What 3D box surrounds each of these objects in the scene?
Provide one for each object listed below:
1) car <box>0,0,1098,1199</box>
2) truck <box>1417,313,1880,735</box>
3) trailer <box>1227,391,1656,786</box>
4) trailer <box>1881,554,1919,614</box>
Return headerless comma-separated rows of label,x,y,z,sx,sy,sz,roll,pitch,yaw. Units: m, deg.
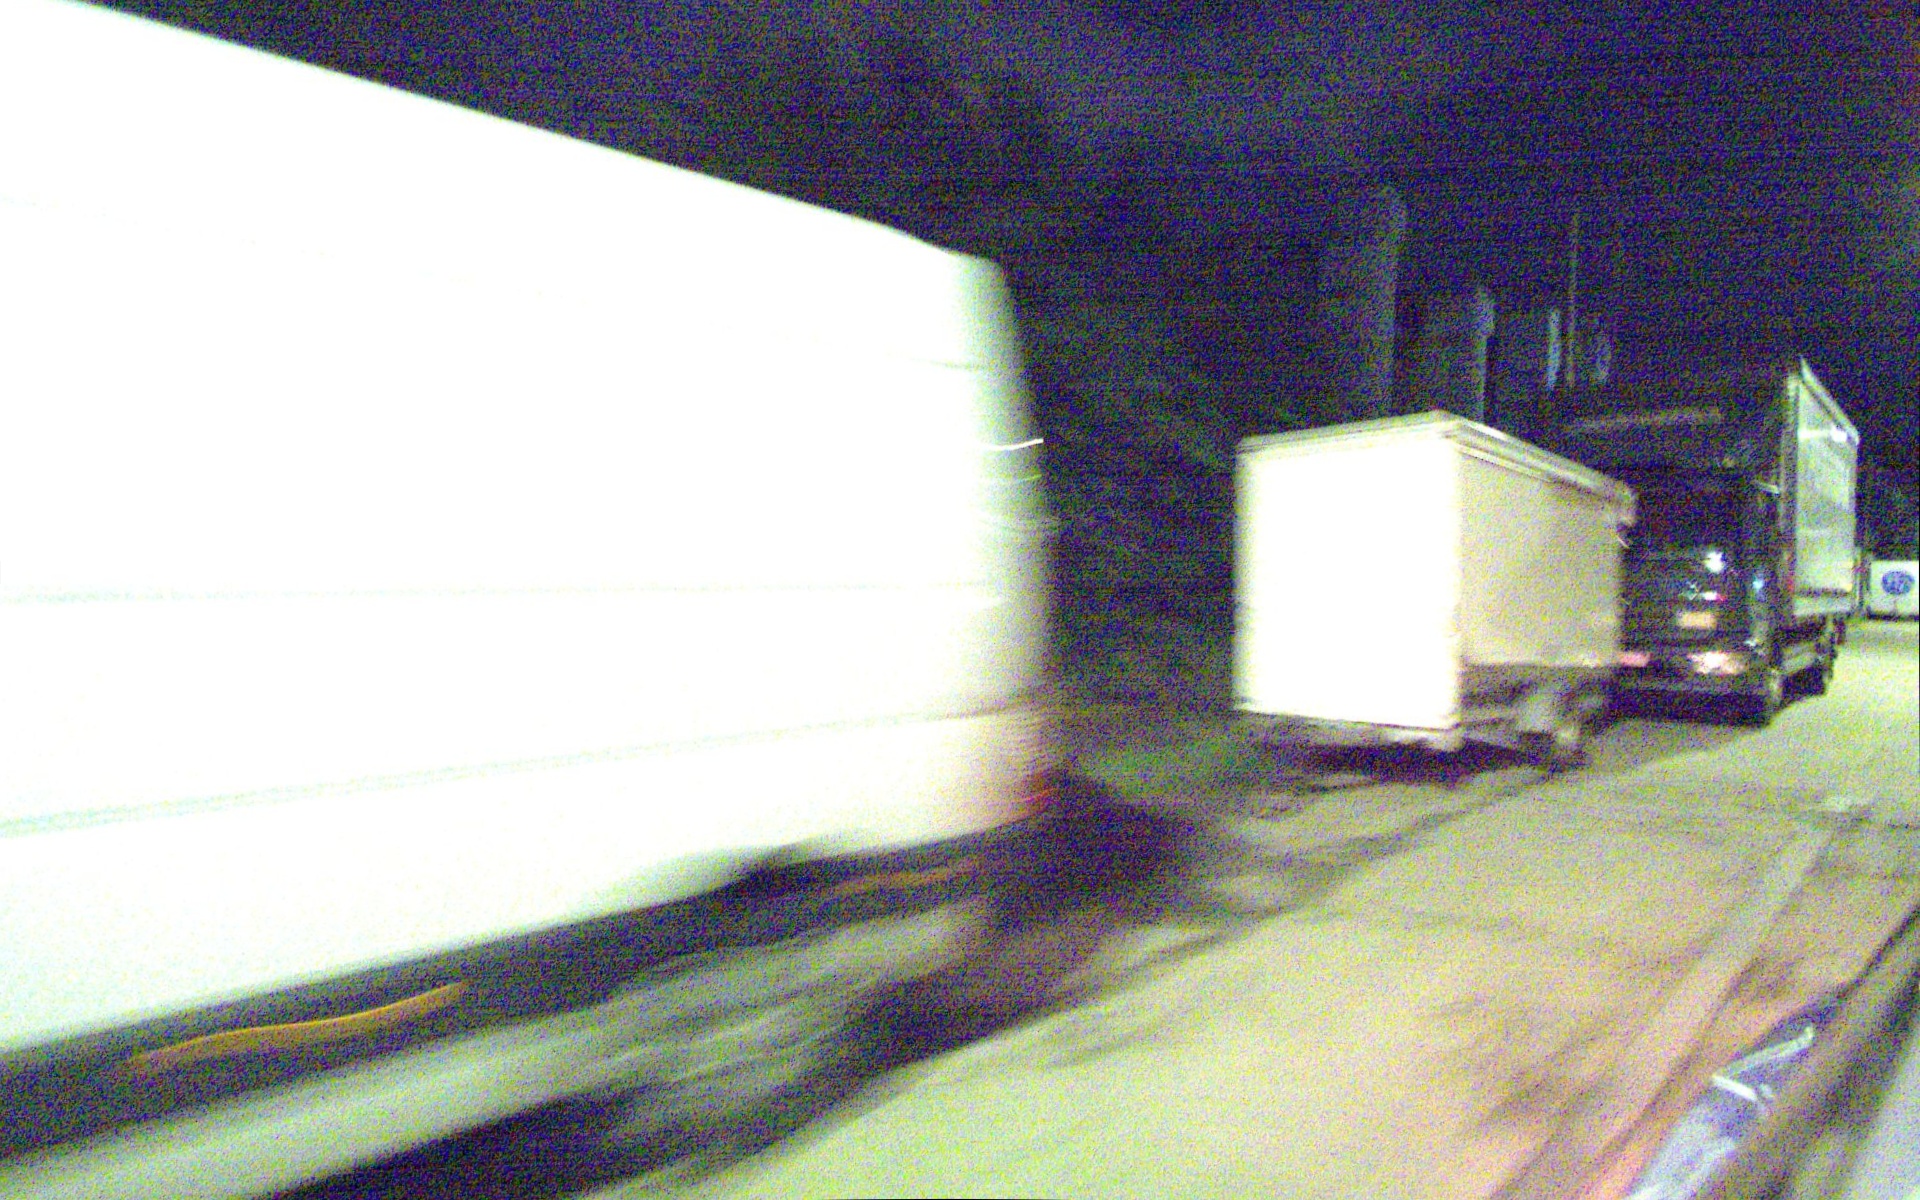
car,-2.638,0.084,1.881,6.260,2.547,2.113,0,2,-41
truck,9.827,-0.839,13.802,9.174,3.916,3.328,-1,3,-44
trailer,4.381,-0.113,8.730,4.944,2.504,1.634,0,2,-44
trailer,44.415,-0.718,46.939,3.930,2.684,1.998,0,2,-41
